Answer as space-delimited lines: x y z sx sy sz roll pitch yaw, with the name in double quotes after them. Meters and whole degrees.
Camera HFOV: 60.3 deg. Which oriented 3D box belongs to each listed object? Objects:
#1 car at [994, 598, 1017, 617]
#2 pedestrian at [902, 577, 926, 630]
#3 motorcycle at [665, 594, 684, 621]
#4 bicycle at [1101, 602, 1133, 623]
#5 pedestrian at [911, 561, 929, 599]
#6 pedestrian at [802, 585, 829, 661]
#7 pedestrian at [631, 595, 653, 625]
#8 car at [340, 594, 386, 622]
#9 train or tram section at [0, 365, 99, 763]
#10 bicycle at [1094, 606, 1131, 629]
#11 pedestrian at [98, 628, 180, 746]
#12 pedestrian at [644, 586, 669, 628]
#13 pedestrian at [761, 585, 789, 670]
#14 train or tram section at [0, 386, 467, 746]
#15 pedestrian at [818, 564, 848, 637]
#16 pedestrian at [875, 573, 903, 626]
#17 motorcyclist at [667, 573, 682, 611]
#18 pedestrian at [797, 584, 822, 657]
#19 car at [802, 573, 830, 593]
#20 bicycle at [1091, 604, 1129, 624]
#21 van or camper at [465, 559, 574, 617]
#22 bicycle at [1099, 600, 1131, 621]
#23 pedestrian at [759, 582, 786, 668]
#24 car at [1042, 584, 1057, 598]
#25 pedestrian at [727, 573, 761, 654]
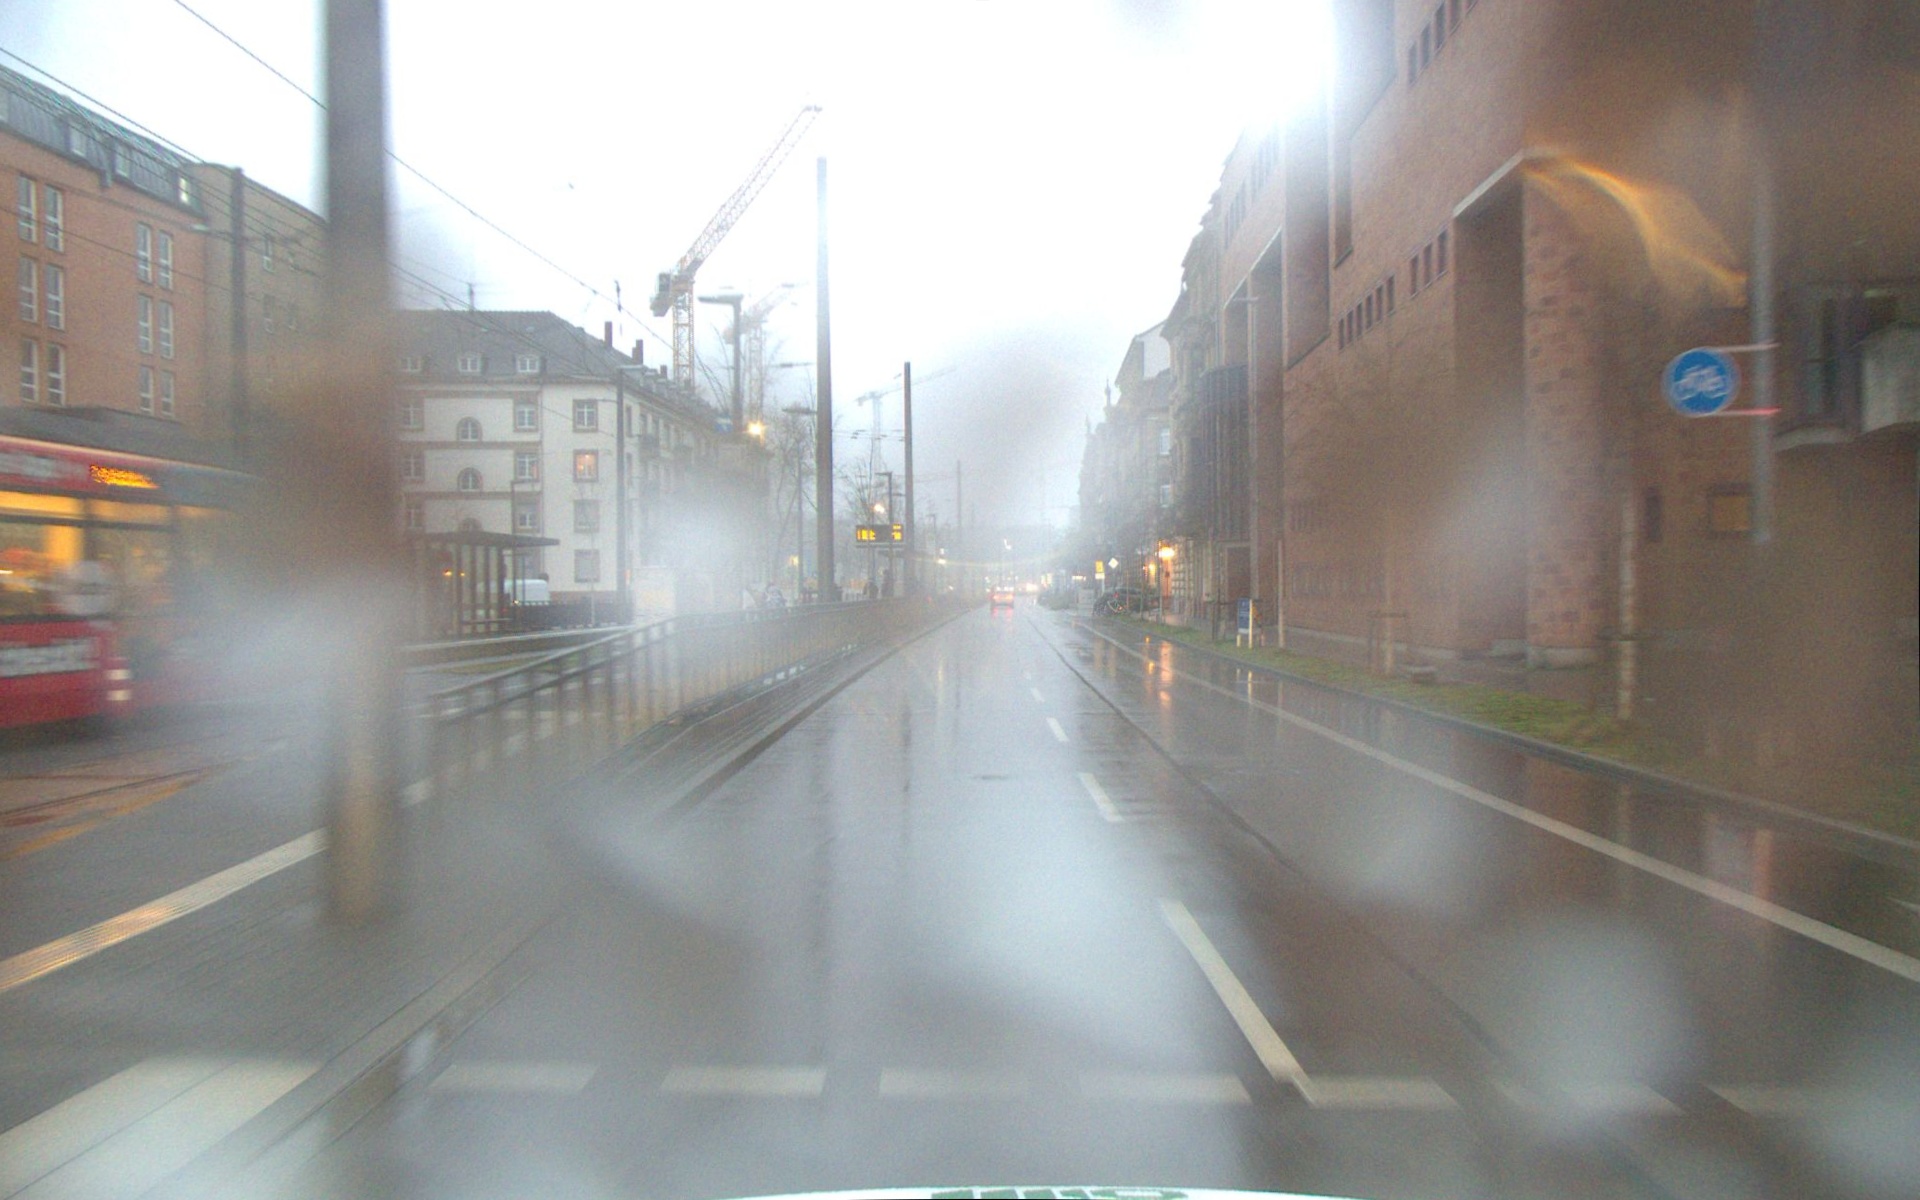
3.708 0.611 134.791 1.746 1.492 3.150 -1 0 4 "car"
-1.709 0.126 61.433 0.793 1.981 0.805 -1 0 2 "pedestrian"
-11.369 0.296 65.906 0.502 1.026 1.806 1 0 -2 "motorcycle"
8.499 0.669 89.531 1.694 1.073 0.371 -2 0 0 "bicycle"
-1.624 -0.815 66.794 0.667 1.542 0.617 0 0 -11 "pedestrian"
-3.084 0.485 35.280 0.529 1.618 0.563 0 0 -1 "pedestrian"
-11.851 0.379 61.613 0.602 1.122 0.583 1 0 -39 "pedestrian"
-32.471 0.427 89.973 1.571 1.455 4.135 -1 0 -9 "car"
-10.357 -0.326 11.212 2.864 3.640 11.038 1 0 2 "train or tram section"
8.430 0.966 91.399 1.967 1.114 0.425 -4 0 0 "bicycle"
-8.417 0.885 16.973 0.568 1.173 0.490 1 0 3 "pedestrian"
-11.329 0.244 61.791 0.630 1.551 0.745 1 0 -40 "pedestrian"
-3.576 0.525 31.979 0.471 1.618 0.563 0 0 -1 "pedestrian"
-9.934 -0.389 22.279 2.839 3.630 11.038 1 0 2 "train or tram section"
-3.080 0.008 40.060 0.635 1.733 0.566 0 0 -16 "pedestrian"
-2.327 -0.031 54.427 0.763 1.733 0.770 0 0 -16 "pedestrian"
-11.375 -0.315 65.949 0.489 1.522 0.556 1 0 -3 "motorcyclist"
-3.587 0.488 39.380 0.529 1.722 0.643 0 0 -1 "pedestrian"
-10.304 -1.185 118.275 1.647 1.378 3.546 0 0 1 "car"
8.467 0.798 93.423 2.100 1.073 0.484 -2 0 0 "bicycle"
-21.796 -0.576 82.218 2.714 2.729 6.760 1 0 9 "van or camper"
8.452 0.572 90.034 1.694 1.073 0.371 -2 0 0 "bicycle"
-3.749 0.504 33.166 0.471 1.708 0.563 0 0 -1 "pedestrian"
10.721 -1.116 197.753 1.761 1.632 3.772 -1 0 4 "car"
-4.374 0.270 33.511 0.605 1.618 0.622 0 0 -1 "pedestrian"
